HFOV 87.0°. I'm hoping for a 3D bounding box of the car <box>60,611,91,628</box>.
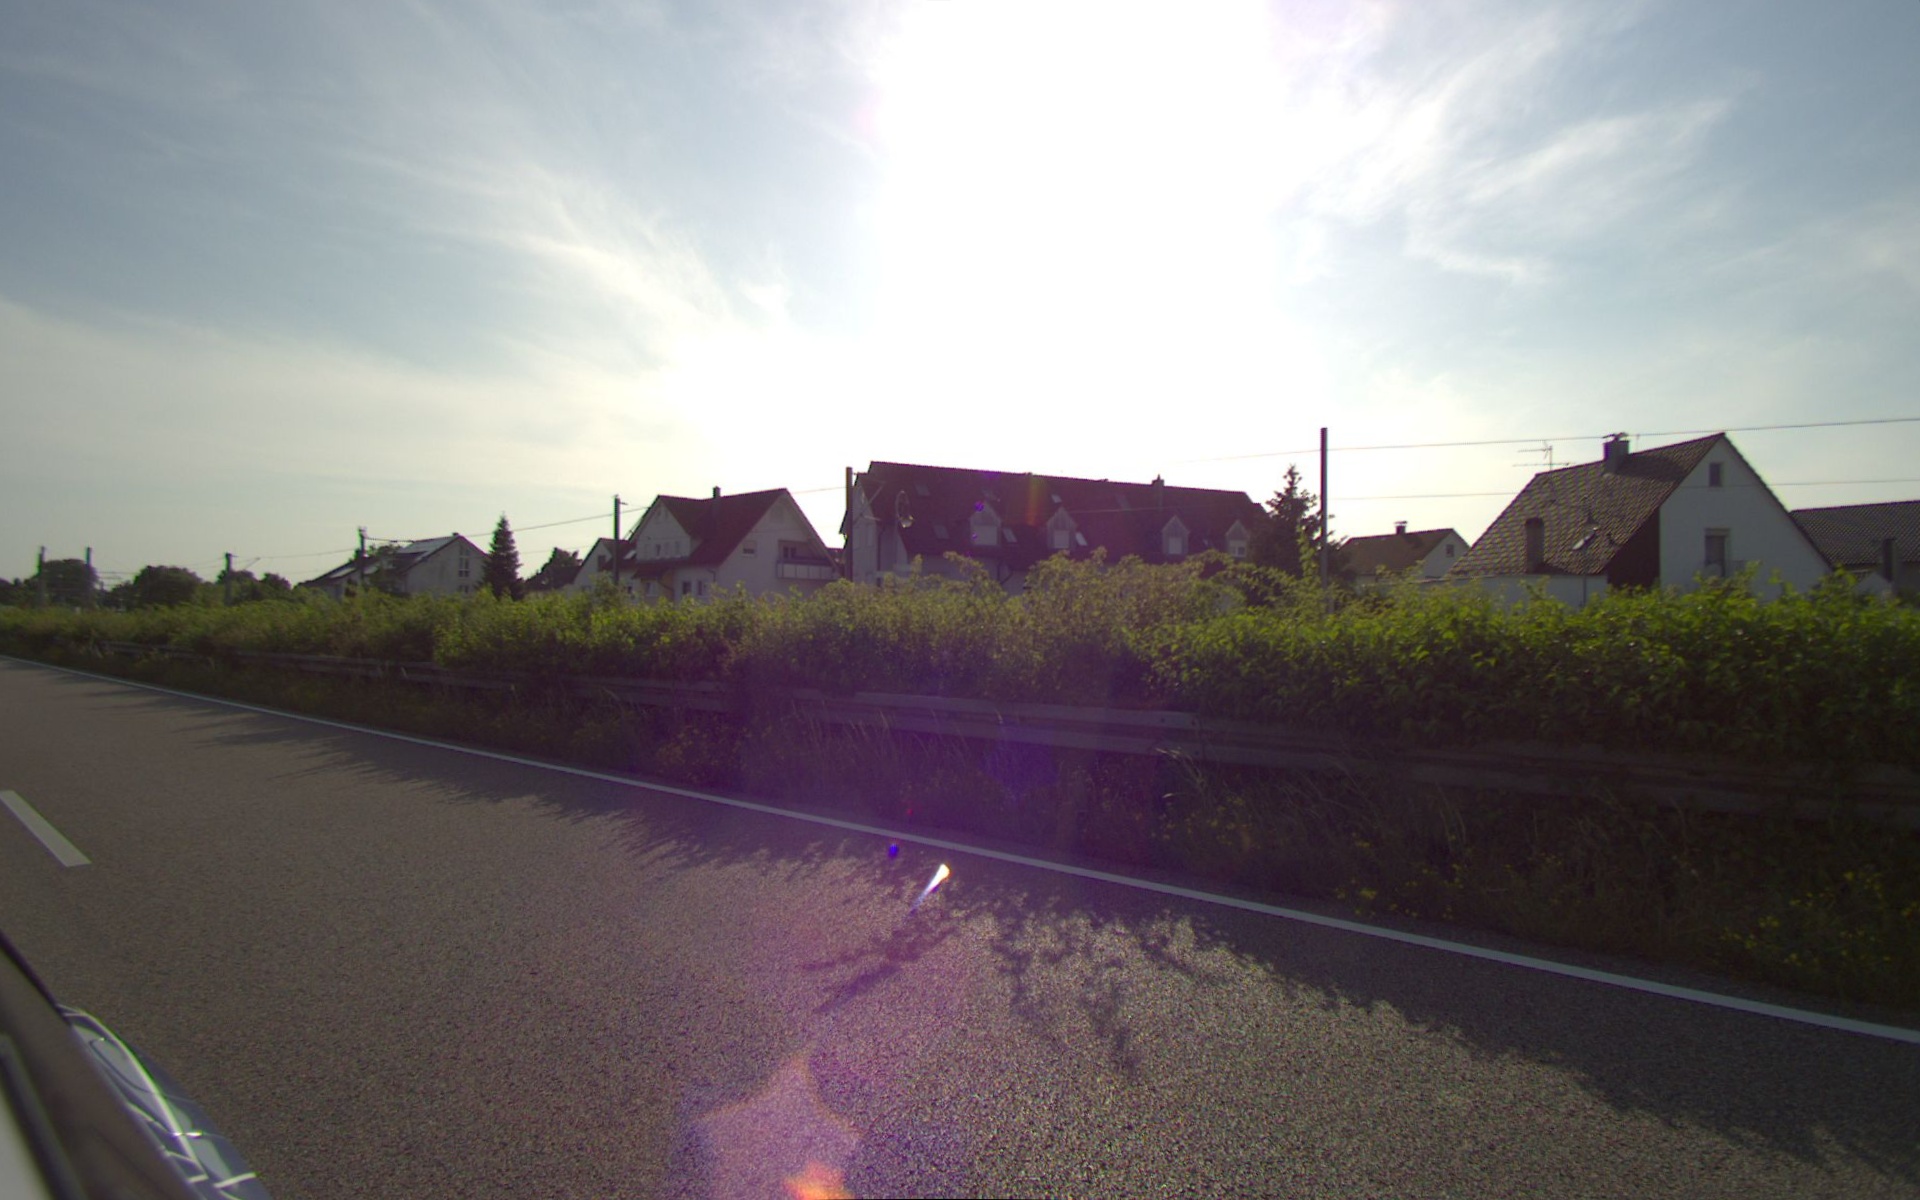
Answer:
[{"bbox_3d":[-94.599,2.058,108.277,3.998,1.763,1.973,-1,0,41],"label":"car"}]
